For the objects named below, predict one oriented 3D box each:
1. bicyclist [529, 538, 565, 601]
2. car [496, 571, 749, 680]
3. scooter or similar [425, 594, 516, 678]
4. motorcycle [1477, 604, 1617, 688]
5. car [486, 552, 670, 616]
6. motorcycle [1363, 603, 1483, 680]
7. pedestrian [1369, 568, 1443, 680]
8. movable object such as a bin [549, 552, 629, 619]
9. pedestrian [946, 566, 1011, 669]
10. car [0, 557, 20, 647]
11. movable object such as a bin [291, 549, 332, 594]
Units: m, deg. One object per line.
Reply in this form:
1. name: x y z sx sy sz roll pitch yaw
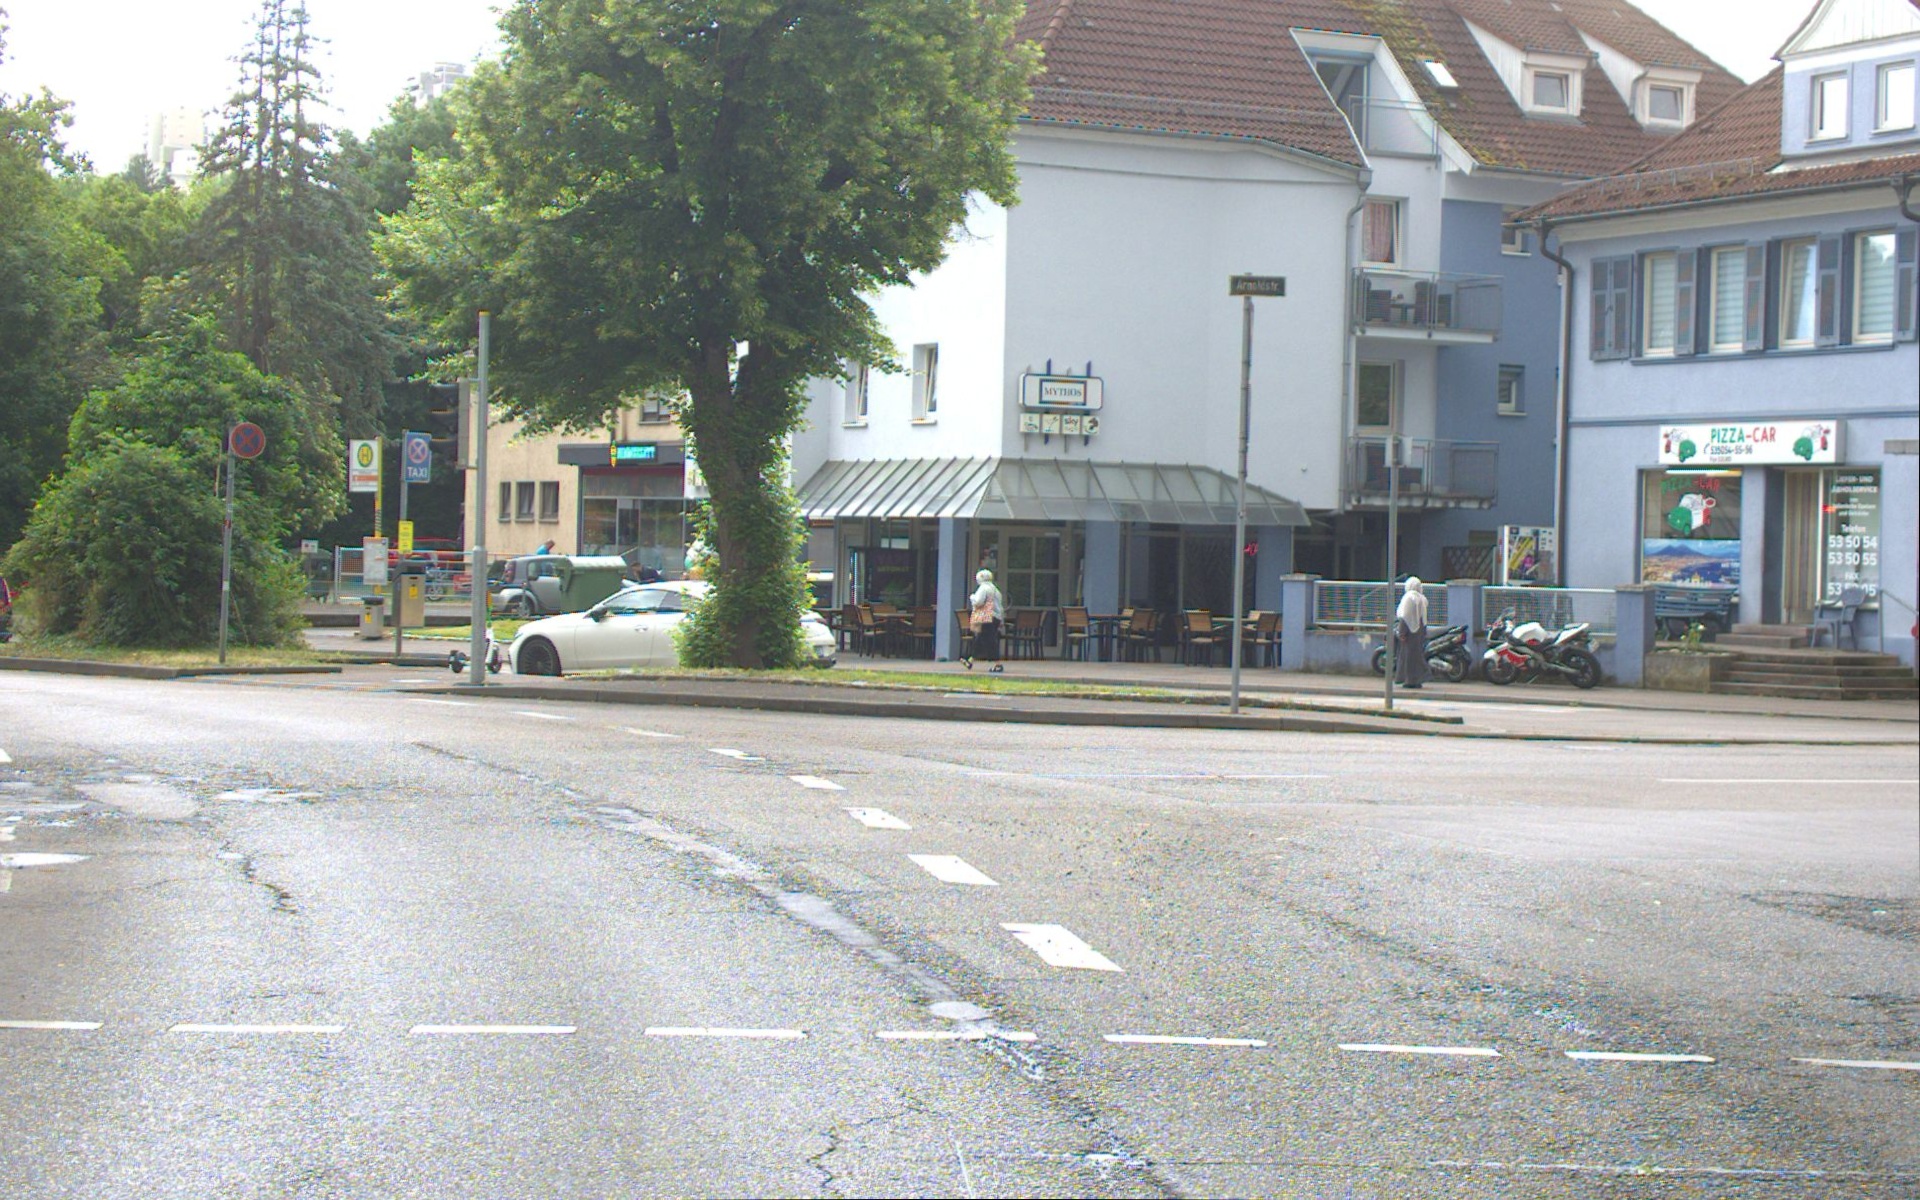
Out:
1. bicyclist: -10.162 -0.754 84.622 0.737 1.536 0.600 1 1 -19
2. car: -4.534 0.320 46.044 3.171 1.350 1.436 2 1 35
3. scooter or similar: -6.062 0.435 42.651 0.417 1.008 1.565 1 1 20
4. motorcycle: 8.254 0.637 48.382 1.798 1.118 0.693 2 1 38
5. car: -8.428 -0.358 75.873 3.733 1.340 1.434 1 1 -26
6. motorcycle: 6.748 0.600 50.161 1.636 1.060 0.693 2 1 44
7. pedestrian: 6.265 0.337 48.264 0.768 1.539 0.677 1 1 39
8. movable object such as a bin: -7.986 -0.317 73.976 1.440 1.404 0.967 1 1 -27
9. pedestrian: 0.285 0.264 52.601 0.707 1.539 0.677 2 1 40
10. car: -16.517 -0.008 53.724 3.590 1.389 1.469 2 1 32
11. movable object such as a bin: -16.250 -0.723 86.169 0.950 1.111 0.383 1 1 -21
